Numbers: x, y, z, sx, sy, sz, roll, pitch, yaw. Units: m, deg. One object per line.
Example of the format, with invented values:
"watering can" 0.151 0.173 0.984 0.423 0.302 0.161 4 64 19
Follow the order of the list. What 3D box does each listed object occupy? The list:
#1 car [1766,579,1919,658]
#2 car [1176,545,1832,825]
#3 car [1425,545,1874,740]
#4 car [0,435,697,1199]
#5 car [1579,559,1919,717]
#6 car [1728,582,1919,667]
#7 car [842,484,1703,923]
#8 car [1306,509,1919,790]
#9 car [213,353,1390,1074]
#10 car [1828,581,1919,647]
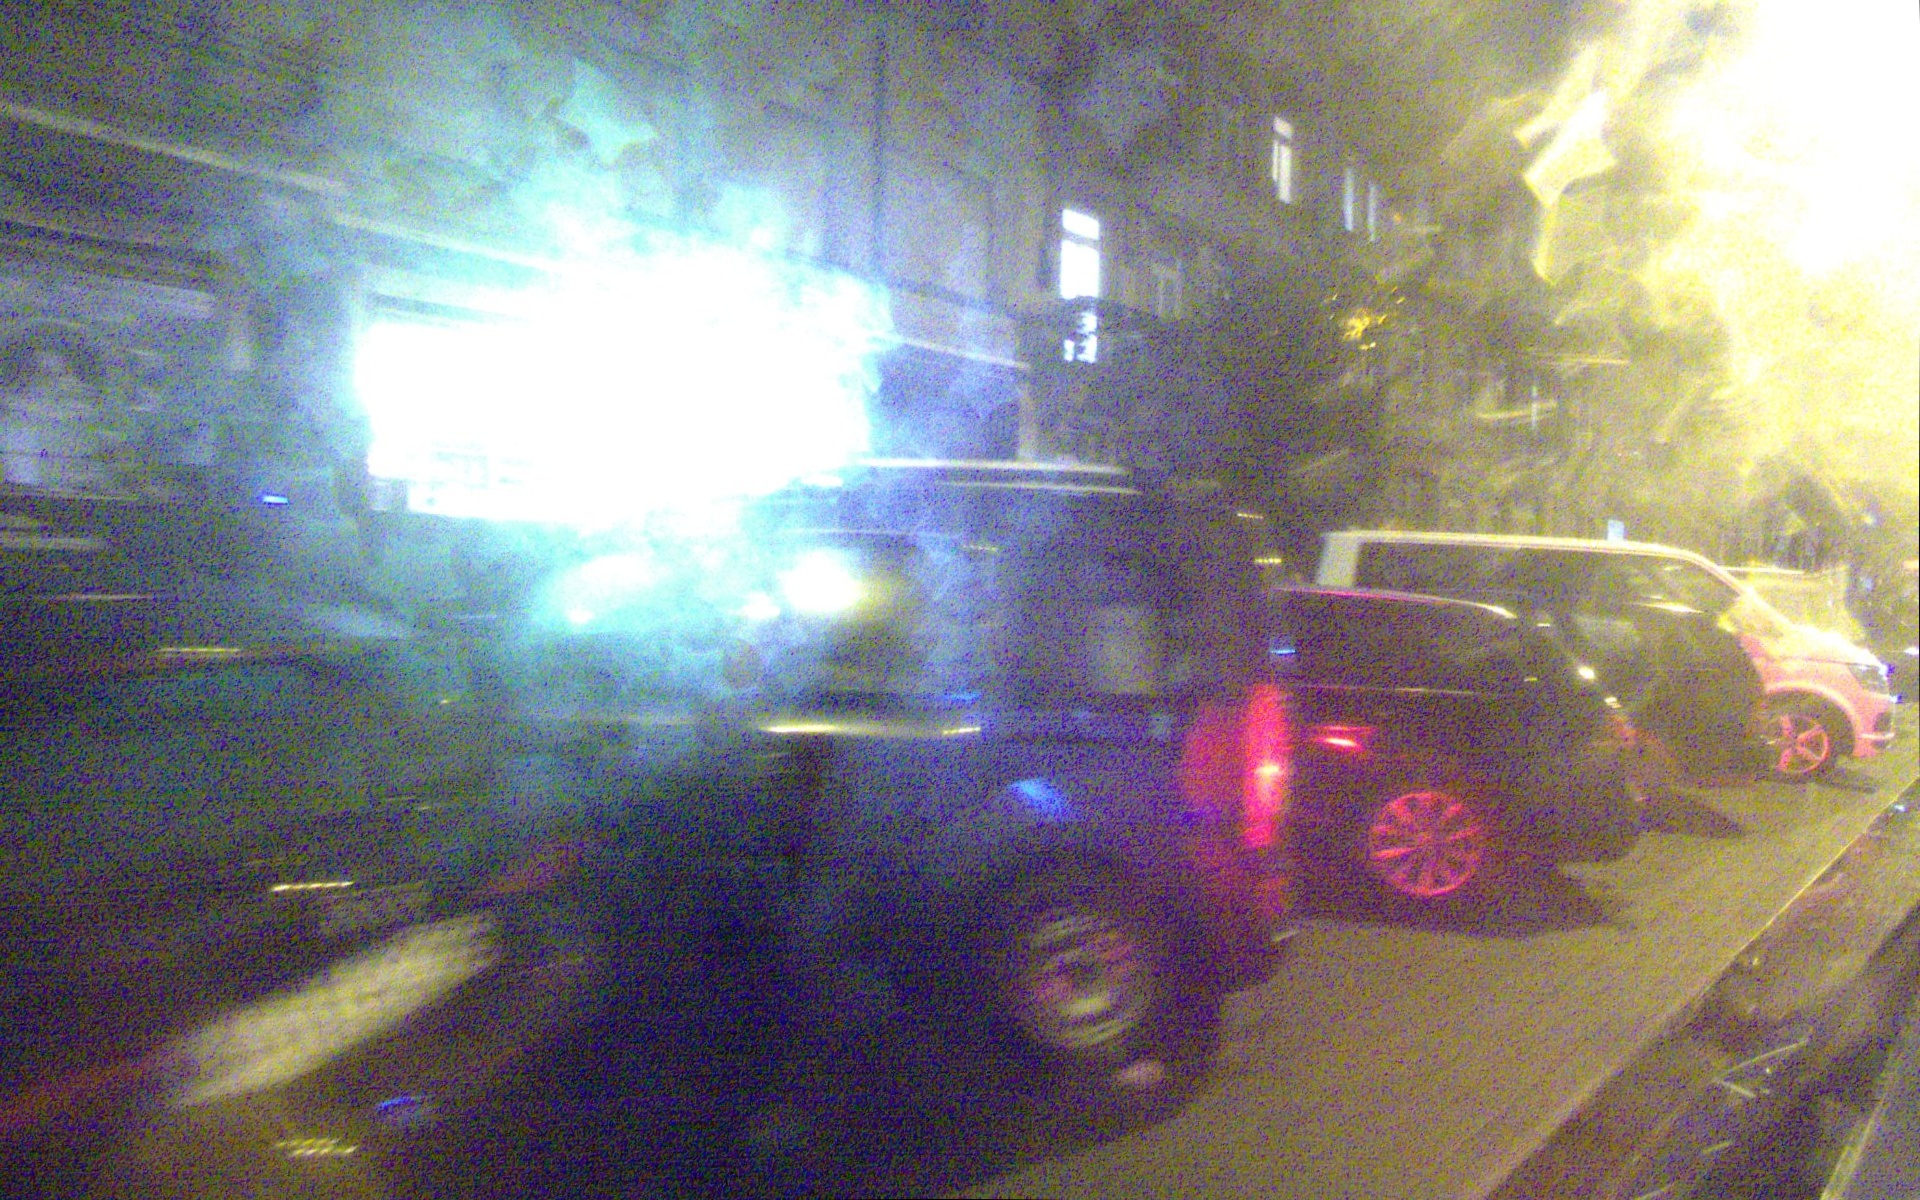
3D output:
"car" 20.914 0.420 22.835 3.896 1.581 1.695 4 3 27
"car" 3.688 0.468 7.622 3.880 1.568 1.735 3 3 16
"car" 7.542 0.353 11.573 3.898 1.763 1.695 4 3 28
"car" -2.736 0.503 1.983 3.999 1.471 1.671 2 1 15
"car" 10.213 0.408 12.746 3.898 1.639 1.695 4 3 28
"car" 18.273 0.481 20.567 3.896 1.481 1.695 4 3 27
"car" 1.481 0.377 5.711 3.875 1.814 1.737 3 3 13
"car" 5.716 0.286 9.343 4.655 2.004 1.966 4 3 21
"car" -0.593 0.184 4.039 3.875 1.966 1.737 3 3 13
"car" 25.248 0.413 26.133 3.896 1.581 1.695 4 3 27
